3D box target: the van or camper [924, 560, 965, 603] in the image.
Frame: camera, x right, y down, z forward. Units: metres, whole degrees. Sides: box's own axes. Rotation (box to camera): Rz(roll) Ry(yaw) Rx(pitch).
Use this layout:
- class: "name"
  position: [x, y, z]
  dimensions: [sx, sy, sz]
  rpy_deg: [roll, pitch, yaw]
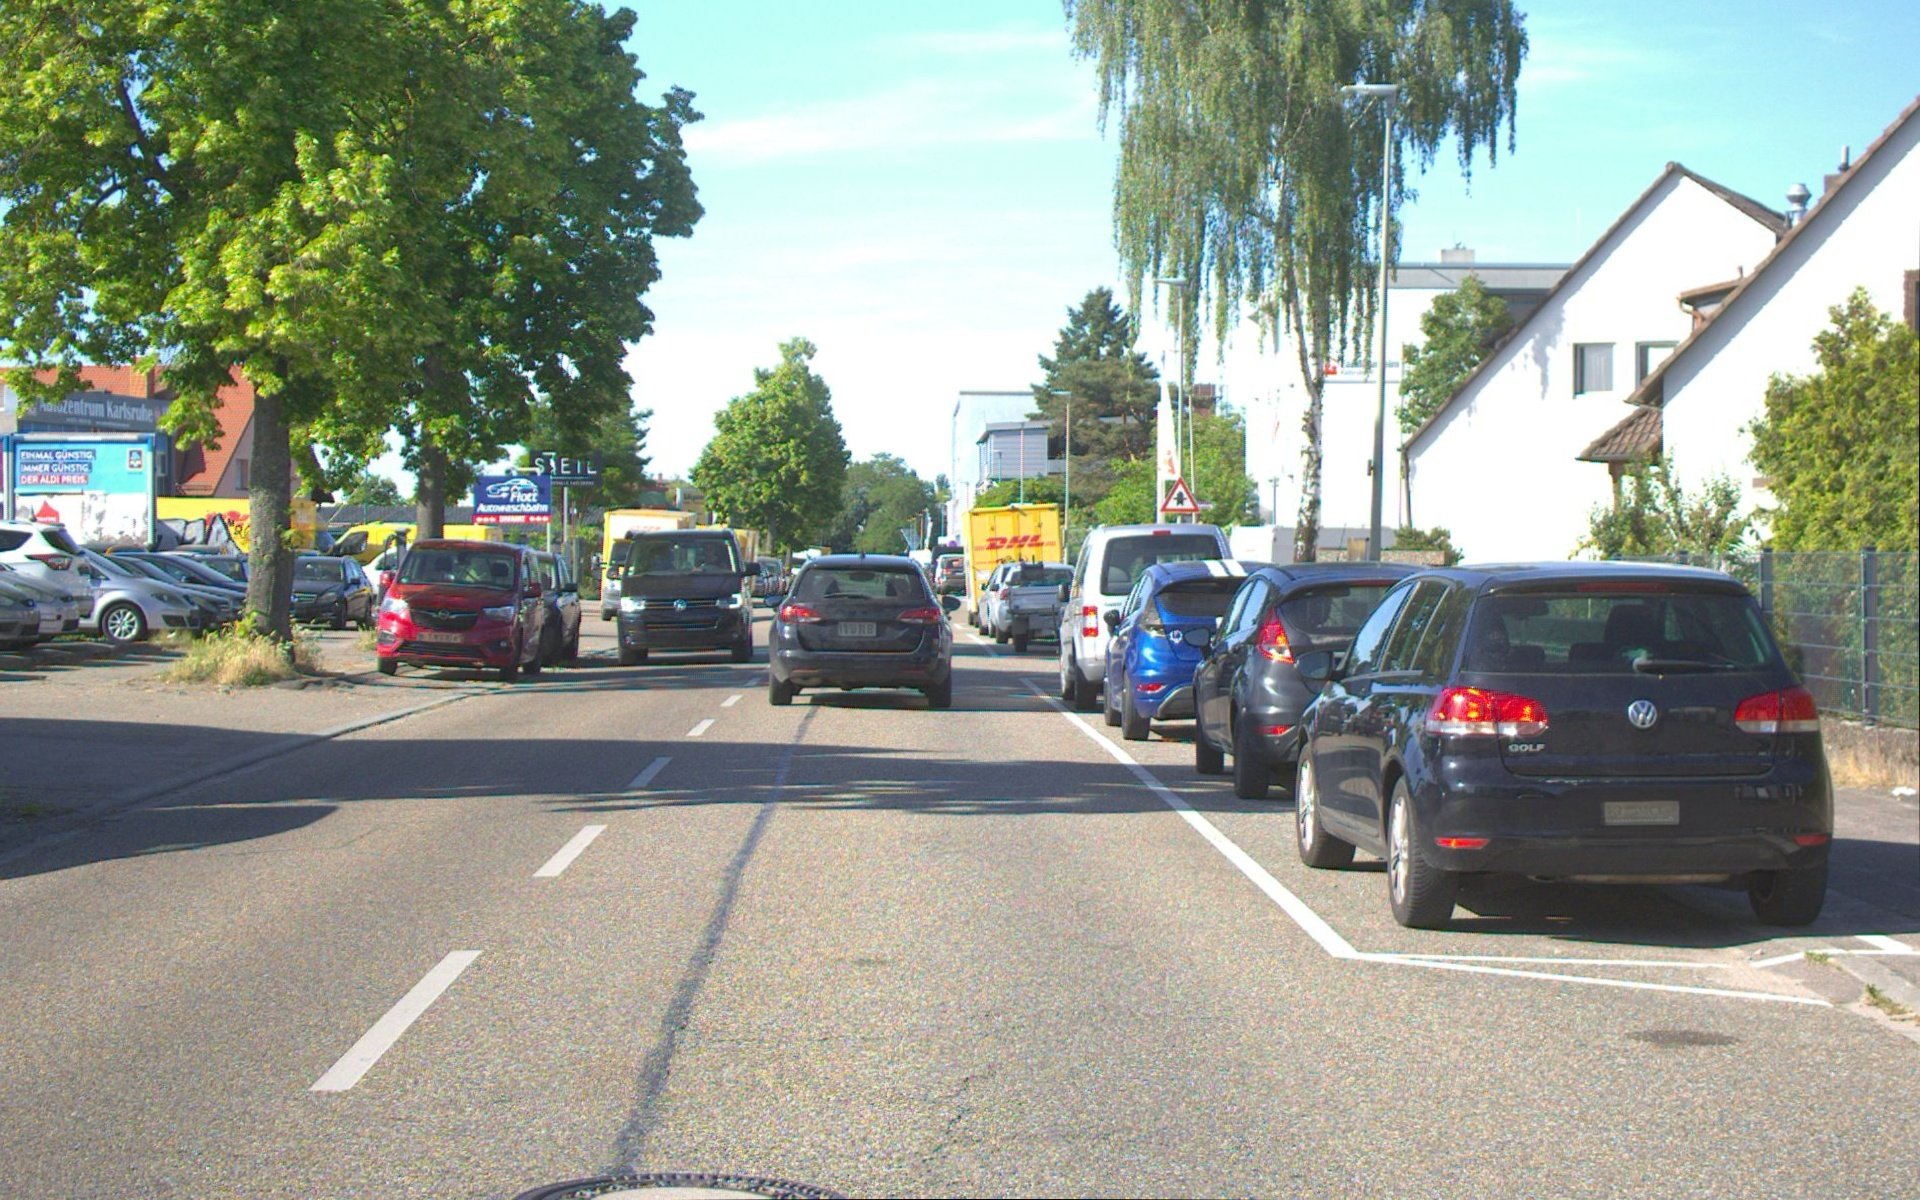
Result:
- class: "van or camper"
  position: [-0.782, -0.903, 165.996]
  dimensions: [1.919, 2.012, 4.080]
  rpy_deg: [0, 1, -1]

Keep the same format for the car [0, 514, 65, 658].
- class: "car"
  position: [-13.471, -0.189, 42.639]
  dimensions: [4.249, 1.746, 1.766]
  rpy_deg: [0, 1, 3]

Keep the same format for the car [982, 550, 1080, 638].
- class: "car"
  position: [1.331, -0.140, 63.079]
  dimensions: [1.674, 1.537, 4.043]
  rpy_deg: [1, 1, 2]

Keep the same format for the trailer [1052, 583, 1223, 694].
- class: "trailer"
  position: [2.042, 0.424, 40.246]
  dimensions: [1.627, 1.213, 3.145]
  rpy_deg: [0, 1, -4]

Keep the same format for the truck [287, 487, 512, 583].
- class: "truck"
  position: [-16.141, -1.862, 99.059]
  dimensions: [5.924, 2.559, 2.223]
  rpy_deg: [2, 1, 11]

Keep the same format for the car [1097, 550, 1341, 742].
- class: "car"
  position: [2.128, 0.341, 29.048]
  dimensions: [1.718, 1.499, 3.564]
  rpy_deg: [1, 1, -1]

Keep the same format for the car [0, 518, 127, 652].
- class: "car"
  position: [-13.314, -0.205, 45.219]
  dimensions: [4.249, 1.723, 1.765]
  rpy_deg: [0, 1, 5]

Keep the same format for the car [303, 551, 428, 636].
- class: "car"
  position: [-11.763, -0.111, 68.228]
  dimensions: [1.861, 1.584, 4.276]
  rpy_deg: [0, -1, -2]

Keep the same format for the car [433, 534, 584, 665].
- class: "car"
  position: [-6.604, -0.040, 50.685]
  dimensions: [1.674, 1.765, 4.555]
  rpy_deg: [3, 1, -2]

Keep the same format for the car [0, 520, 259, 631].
- class: "car"
  position: [-13.437, -0.388, 54.486]
  dimensions: [4.249, 1.723, 1.765]
  rpy_deg: [0, 1, 5]

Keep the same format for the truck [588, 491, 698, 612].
- class: "truck"
  position: [-8.326, -1.264, 90.924]
  dimensions: [2.402, 2.973, 7.246]
  rpy_deg: [2, 1, -2]

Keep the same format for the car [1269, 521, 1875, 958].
- class: "car"
  position: [2.520, 0.505, 15.086]
  dimensions: [1.775, 1.653, 3.817]
  rpy_deg: [1, 1, -3]

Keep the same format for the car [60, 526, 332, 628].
- class: "car"
  position: [-13.131, -0.399, 59.210]
  dimensions: [4.249, 1.723, 1.765]
  rpy_deg: [0, 1, 5]

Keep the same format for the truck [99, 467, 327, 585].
- class: "truck"
  position: [-21.037, -2.083, 96.955]
  dimensions: [5.671, 3.109, 2.522]
  rpy_deg: [2, 1, 10]

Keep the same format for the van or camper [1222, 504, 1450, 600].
- class: "van or camper"
  position: [10.197, -1.276, 93.113]
  dimensions: [5.812, 2.532, 2.290]
  rpy_deg: [0, 1, -26]

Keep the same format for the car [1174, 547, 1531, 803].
- class: "car"
  position: [2.455, 0.423, 22.387]
  dimensions: [1.718, 1.499, 3.907]
  rpy_deg: [1, 1, -2]

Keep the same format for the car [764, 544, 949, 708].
- class: "car"
  position: [-0.973, 0.213, 33.990]
  dimensions: [1.711, 1.527, 3.687]
  rpy_deg: [0, 1, 0]

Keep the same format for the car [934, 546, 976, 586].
- class: "car"
  position: [-0.237, -1.602, 161.314]
  dimensions: [1.919, 1.819, 4.080]
  rpy_deg: [0, 1, -1]

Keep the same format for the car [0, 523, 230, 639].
- class: "car"
  position: [-13.409, -0.297, 52.223]
  dimensions: [4.249, 1.723, 1.766]
  rpy_deg: [0, 1, 1]

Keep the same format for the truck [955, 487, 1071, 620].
- class: "truck"
  position: [1.194, -1.087, 81.136]
  dimensions: [2.402, 2.926, 7.017]
  rpy_deg: [-2, 0, -1]

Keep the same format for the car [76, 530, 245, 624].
- class: "car"
  position: [-15.844, -0.480, 68.327]
  dimensions: [1.777, 1.742, 4.162]
  rpy_deg: [0, 2, 10]

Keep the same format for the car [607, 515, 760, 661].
- class: "car"
  position: [-4.036, -0.198, 50.789]
  dimensions: [1.894, 2.024, 4.818]
  rpy_deg: [-1, 1, -1]

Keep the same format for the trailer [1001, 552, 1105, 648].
- class: "trailer"
  position: [1.516, -0.026, 56.972]
  dimensions: [1.627, 1.533, 3.198]
  rpy_deg: [0, 1, 0]

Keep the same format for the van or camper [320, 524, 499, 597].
- class: "van or camper"
  position: [-15.395, -1.118, 96.289]
  dimensions: [4.544, 2.007, 2.250]
  rpy_deg: [0, 1, 6]

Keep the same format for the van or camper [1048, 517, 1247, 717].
- class: "van or camper"
  position: [1.855, 0.138, 35.085]
  dimensions: [1.718, 1.884, 4.180]
  rpy_deg: [1, 1, -1]

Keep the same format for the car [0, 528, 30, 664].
- class: "car"
  position: [-13.347, -0.094, 40.598]
  dimensions: [4.248, 1.580, 1.766]
  rpy_deg: [1, 1, -2]

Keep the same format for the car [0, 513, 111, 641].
- class: "car"
  position: [-14.062, -0.323, 47.381]
  dimensions: [4.249, 1.723, 1.765]
  rpy_deg: [0, 1, 5]

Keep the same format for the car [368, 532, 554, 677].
- class: "car"
  position: [-6.491, 0.033, 45.084]
  dimensions: [1.803, 1.746, 4.342]
  rpy_deg: [2, 1, -1]

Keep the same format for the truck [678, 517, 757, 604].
- class: "truck"
  position: [-8.716, -1.427, 124.224]
  dimensions: [2.402, 2.973, 6.374]
  rpy_deg: [2, 0, -1]
